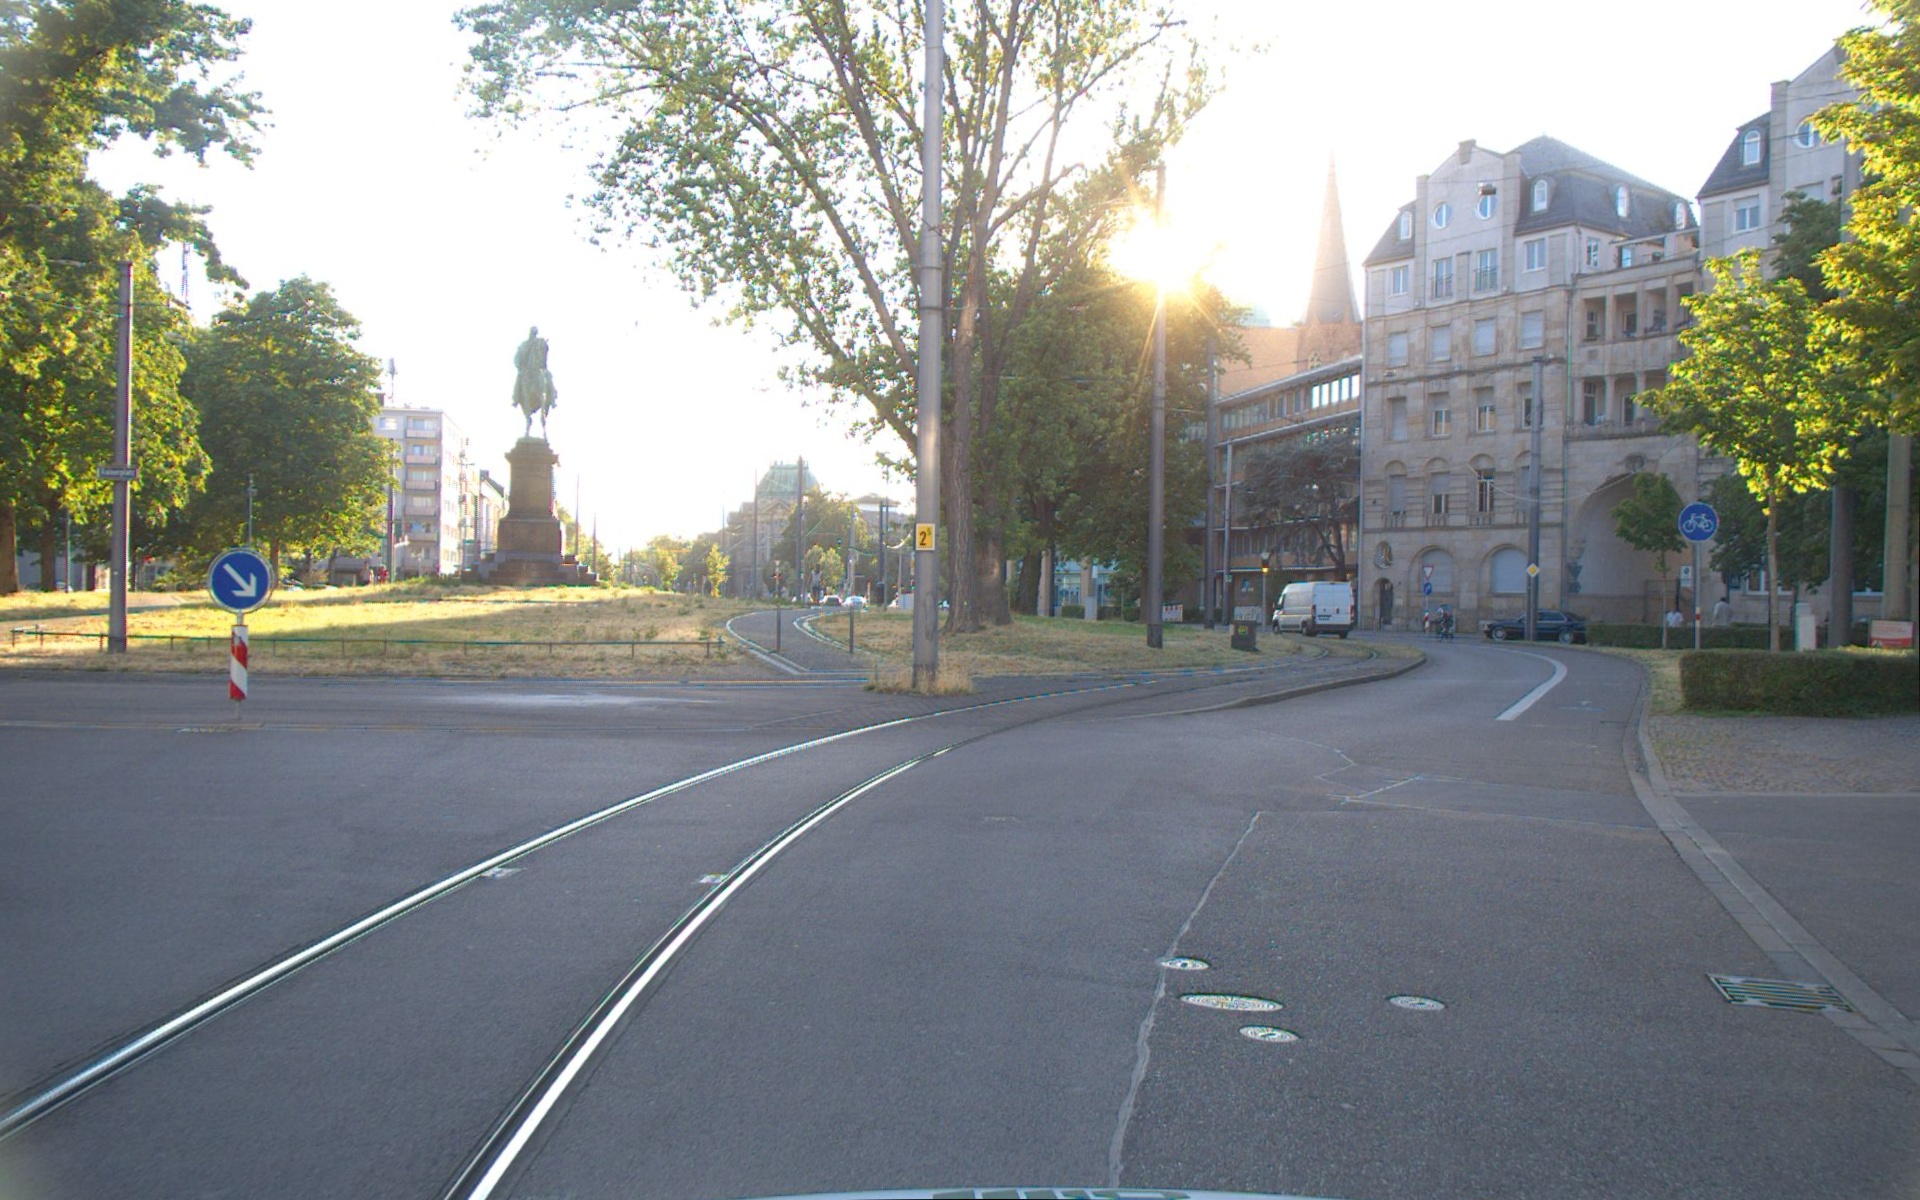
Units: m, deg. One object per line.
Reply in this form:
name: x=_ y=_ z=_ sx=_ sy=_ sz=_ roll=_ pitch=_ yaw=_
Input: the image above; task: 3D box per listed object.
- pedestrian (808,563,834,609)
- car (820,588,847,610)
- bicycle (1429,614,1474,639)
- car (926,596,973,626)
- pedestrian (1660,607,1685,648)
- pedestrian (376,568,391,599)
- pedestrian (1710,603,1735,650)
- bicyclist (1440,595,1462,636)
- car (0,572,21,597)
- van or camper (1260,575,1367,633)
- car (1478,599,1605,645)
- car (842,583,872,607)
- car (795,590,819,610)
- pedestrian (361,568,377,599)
pedestrian: x=-5.078 y=-0.515 z=60.468 sx=0.625 sy=1.634 sz=0.769 roll=1 pitch=0 yaw=35
car: x=-12.350 y=-0.066 z=161.497 sx=2.101 sy=2.049 sz=3.988 roll=1 pitch=0 yaw=-12
bicycle: x=20.296 y=1.087 z=68.326 sx=0.501 sy=0.995 sz=2.228 roll=1 pitch=0 yaw=-21
car: x=-0.765 y=0.743 z=115.591 sx=1.966 sy=2.004 sz=3.974 roll=0 pitch=1 yaw=-22
pedestrian: x=27.054 y=1.026 z=62.803 sx=0.680 sy=1.537 sz=0.586 roll=1 pitch=0 yaw=-36
pedestrian: x=-30.686 y=-0.874 z=88.019 sx=0.757 sy=1.634 sz=0.635 roll=0 pitch=0 yaw=-19
pedestrian: x=25.261 y=0.882 z=54.780 sx=0.622 sy=1.537 sz=0.685 roll=1 pitch=0 yaw=36
bicyclist: x=20.272 y=0.624 z=68.281 sx=0.501 sy=1.671 sz=0.770 roll=1 pitch=0 yaw=-22
car: x=-56.585 y=-0.944 z=96.499 sx=1.842 sy=1.445 sz=3.917 roll=1 pitch=0 yaw=-9
van or camper: x=16.176 y=0.135 z=76.062 sx=2.560 sy=2.515 sz=6.304 roll=0 pitch=1 yaw=-11
car: x=24.299 y=0.897 z=69.147 sx=4.681 sy=1.792 sz=1.811 roll=1 pitch=0 yaw=40
car: x=-9.251 y=-0.430 z=148.836 sx=2.101 sy=2.049 sz=3.988 roll=1 pitch=0 yaw=-12
car: x=-16.333 y=0.011 z=176.471 sx=2.101 sy=2.049 sz=3.988 roll=1 pitch=0 yaw=-12
pedestrian: x=-31.566 y=-0.886 z=88.366 sx=0.757 sy=1.634 sz=0.635 roll=0 pitch=0 yaw=-19
